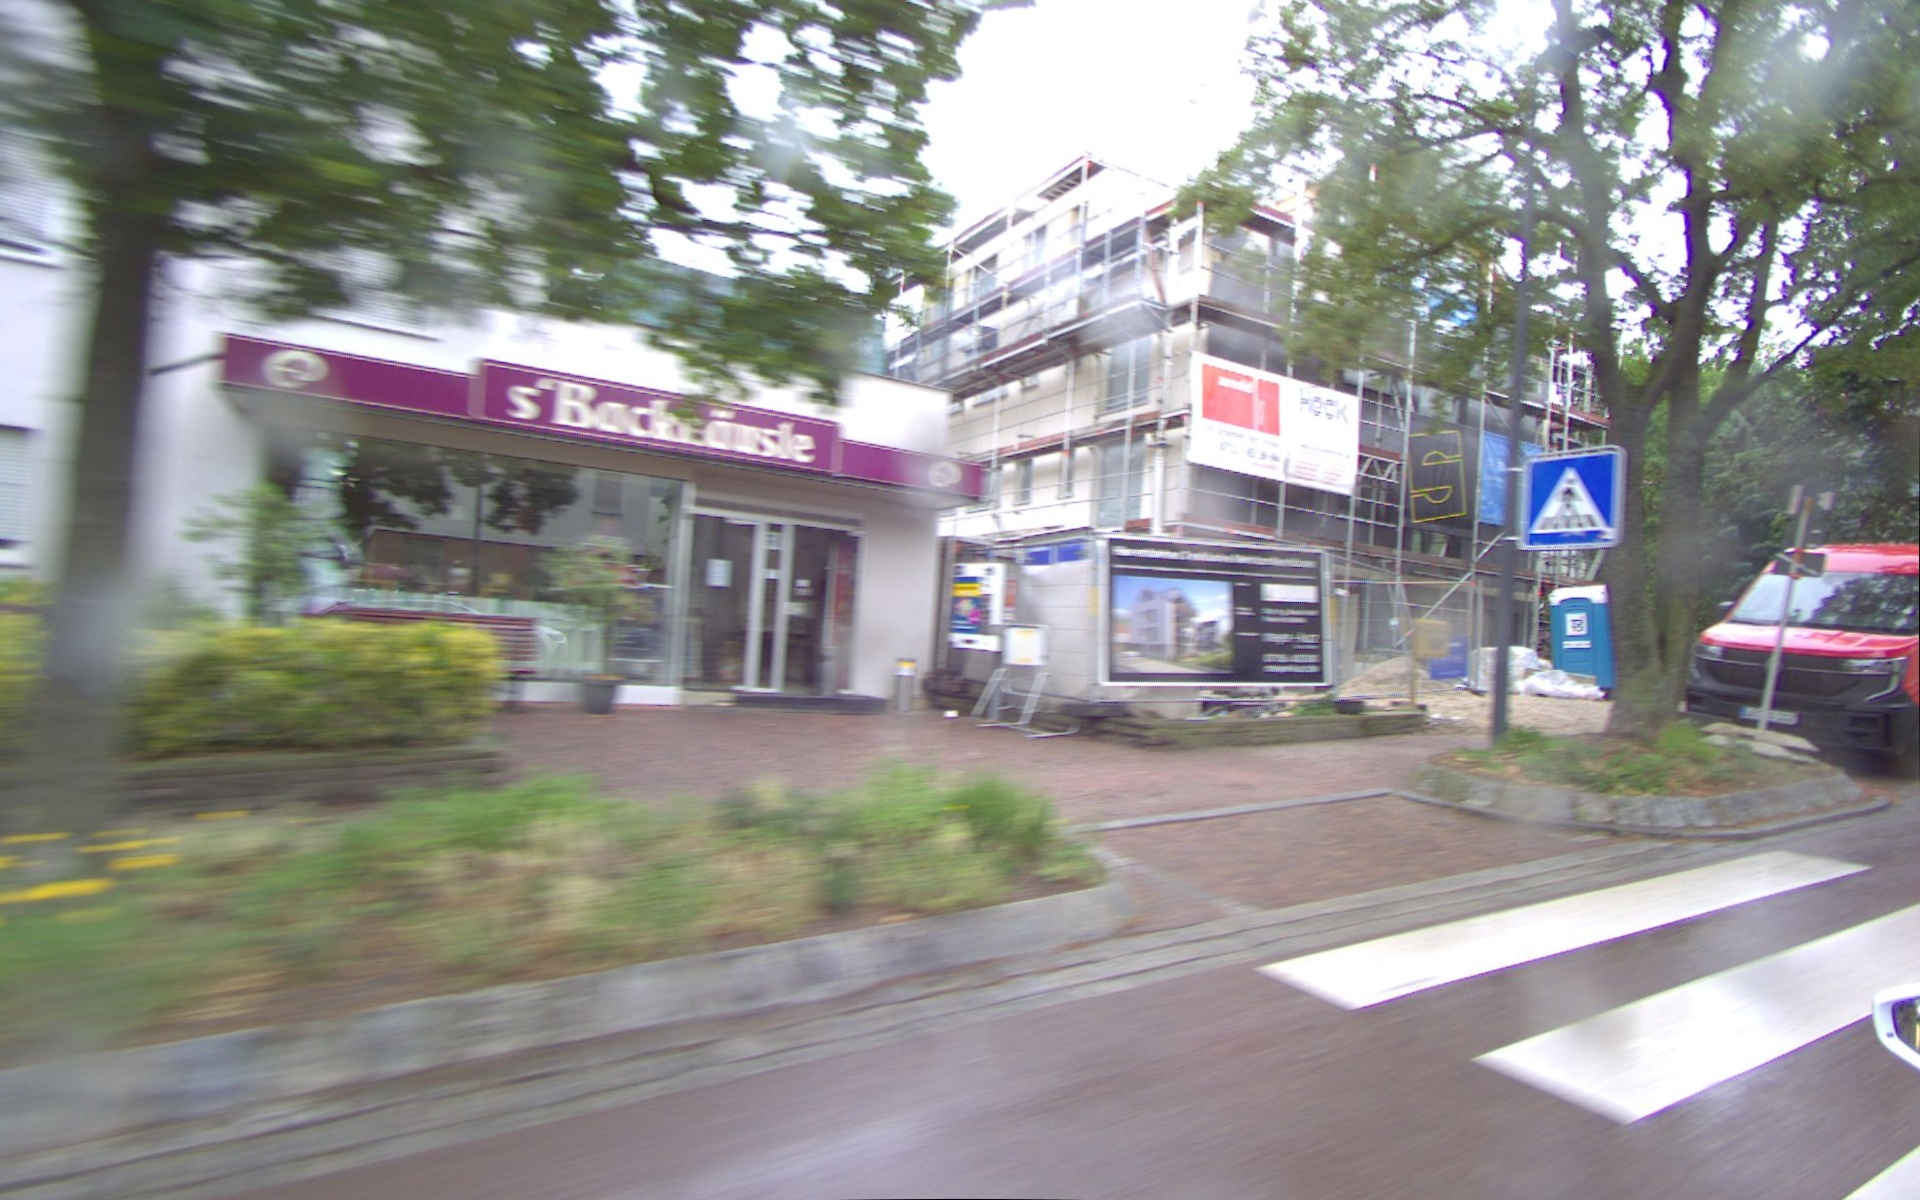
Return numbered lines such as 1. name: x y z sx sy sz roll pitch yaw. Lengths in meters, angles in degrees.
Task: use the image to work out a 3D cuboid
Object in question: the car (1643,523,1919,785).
1. car: 11.011 0.548 12.019 5.711 2.516 2.294 1 0 -28
